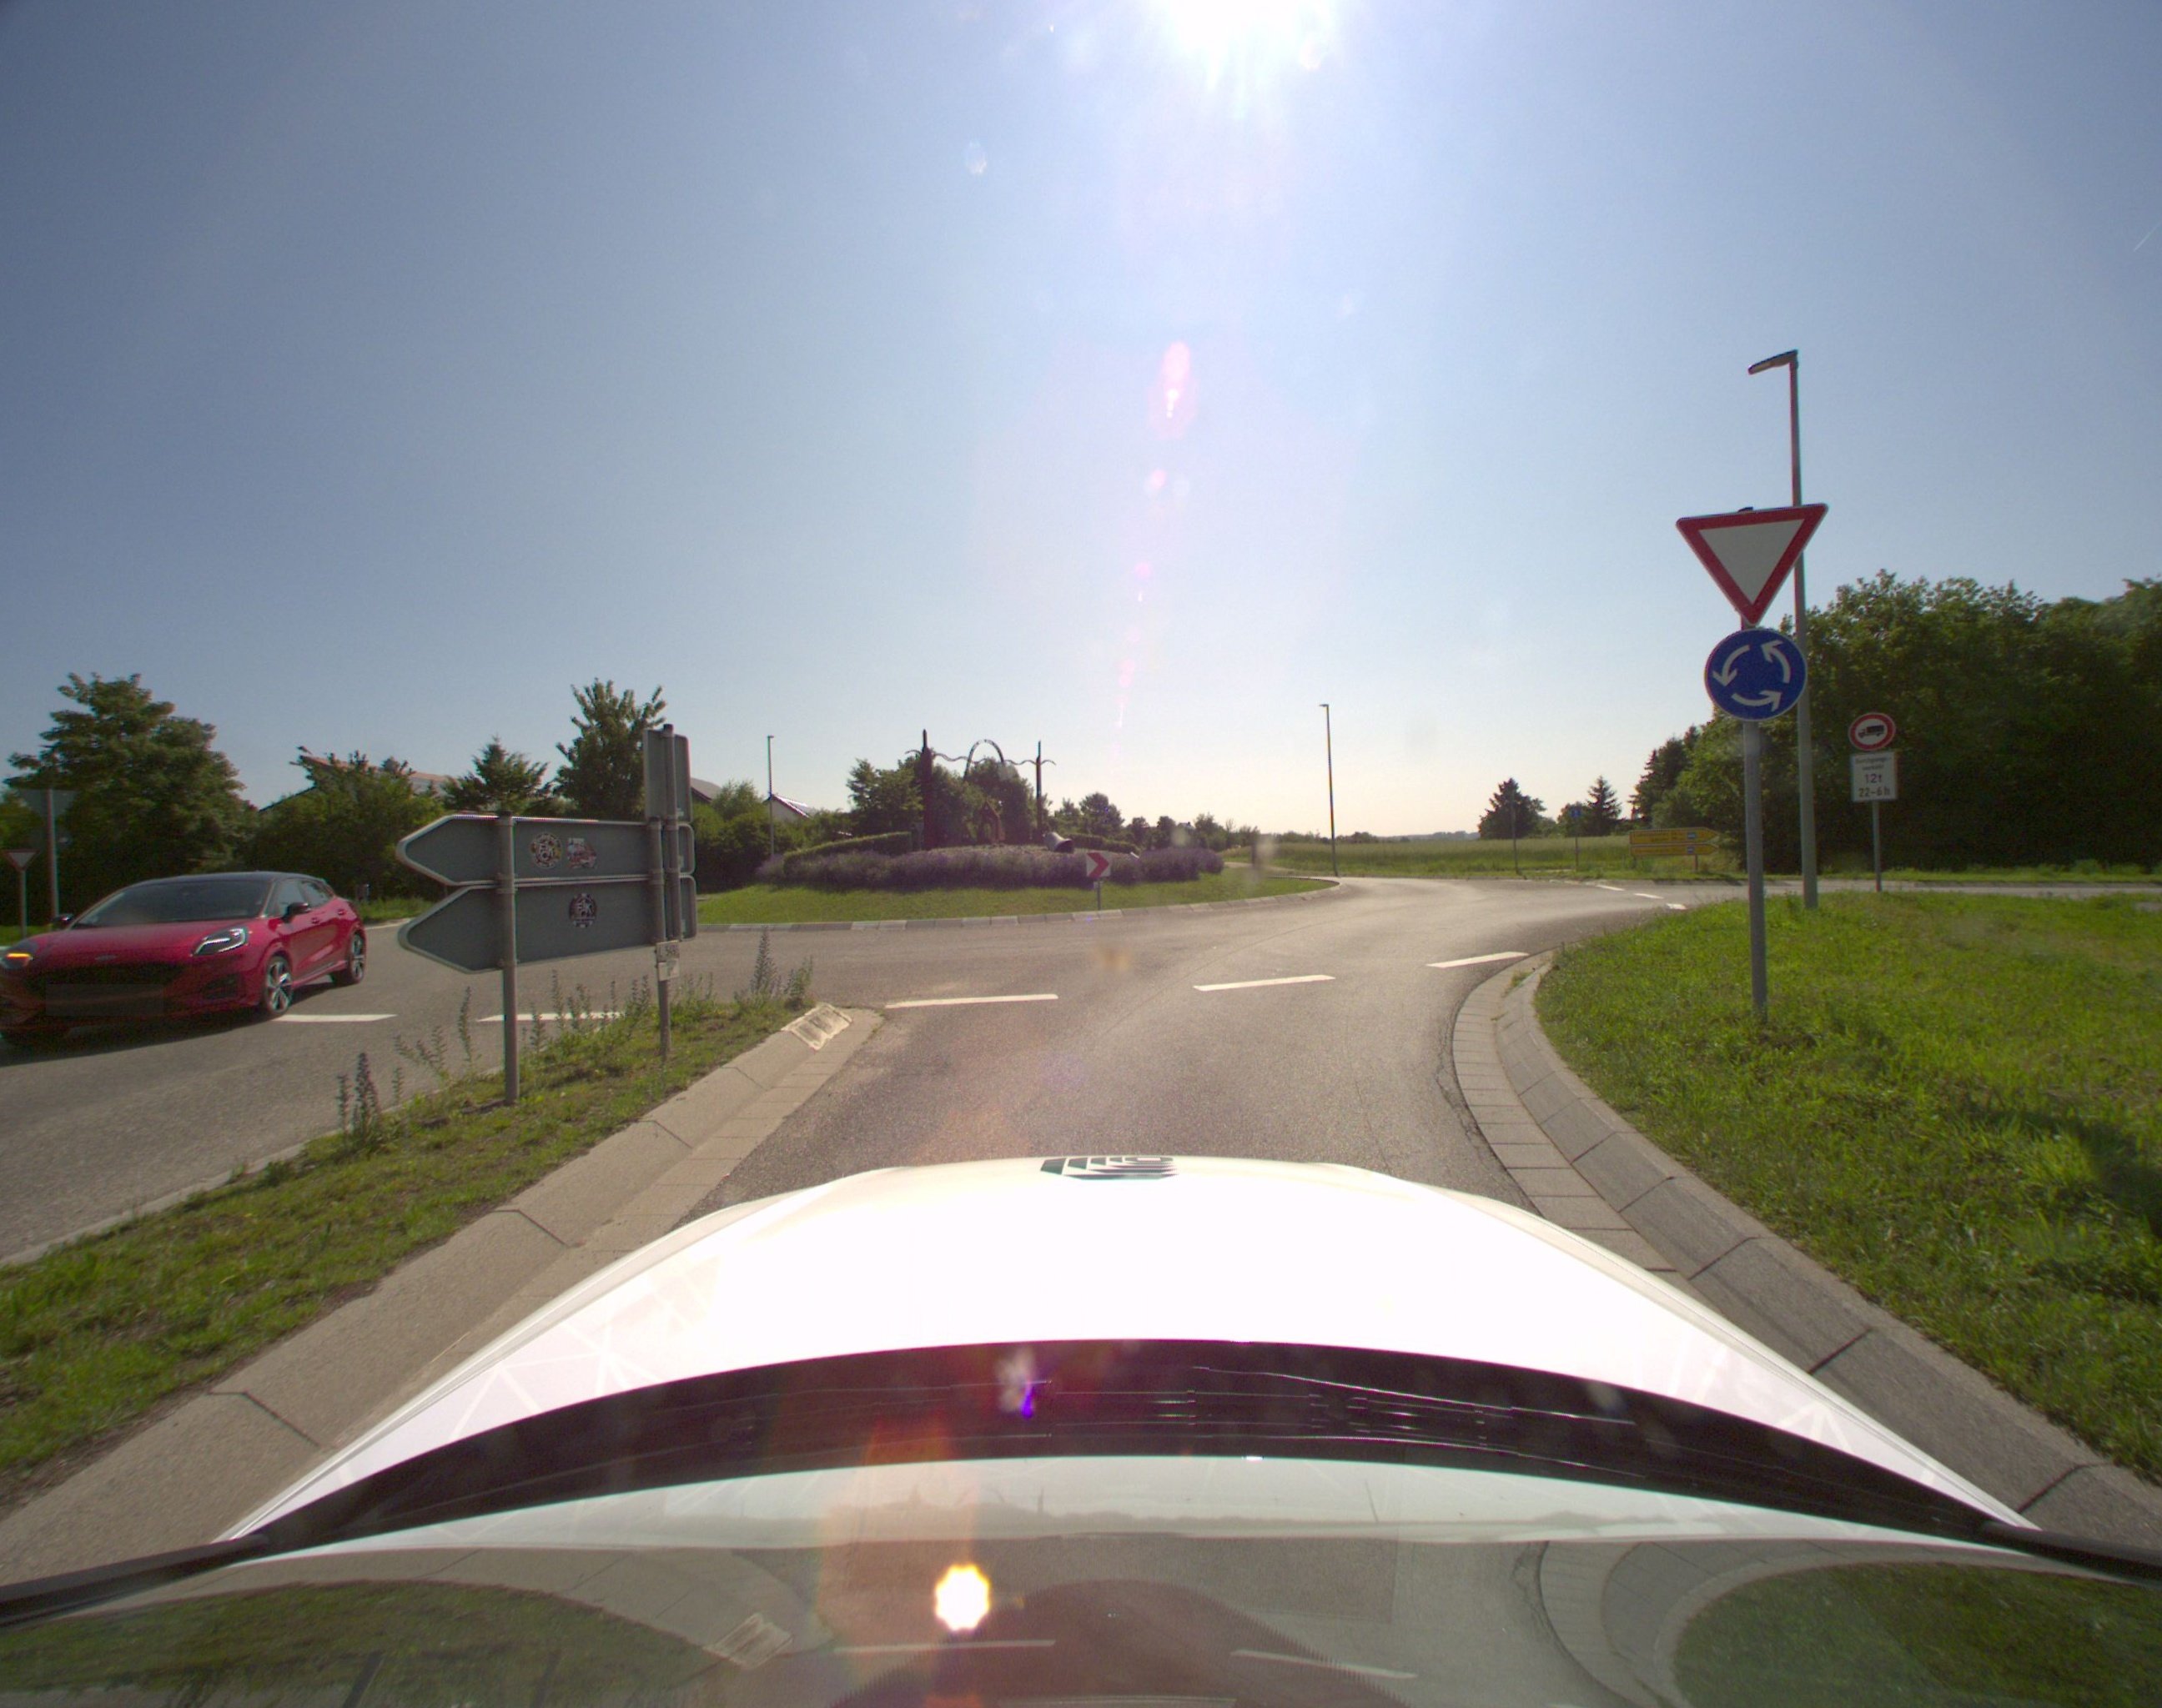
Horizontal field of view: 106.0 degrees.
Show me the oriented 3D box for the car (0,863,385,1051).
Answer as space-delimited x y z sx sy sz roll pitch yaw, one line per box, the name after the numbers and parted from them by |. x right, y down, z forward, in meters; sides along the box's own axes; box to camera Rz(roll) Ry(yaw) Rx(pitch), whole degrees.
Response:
-9.550 0.917 9.114 1.754 1.522 3.797 -3 1 -27 | car

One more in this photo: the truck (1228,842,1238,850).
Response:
38.448 -2.017 205.683 1.978 2.013 4.017 -2 0 16 | truck
